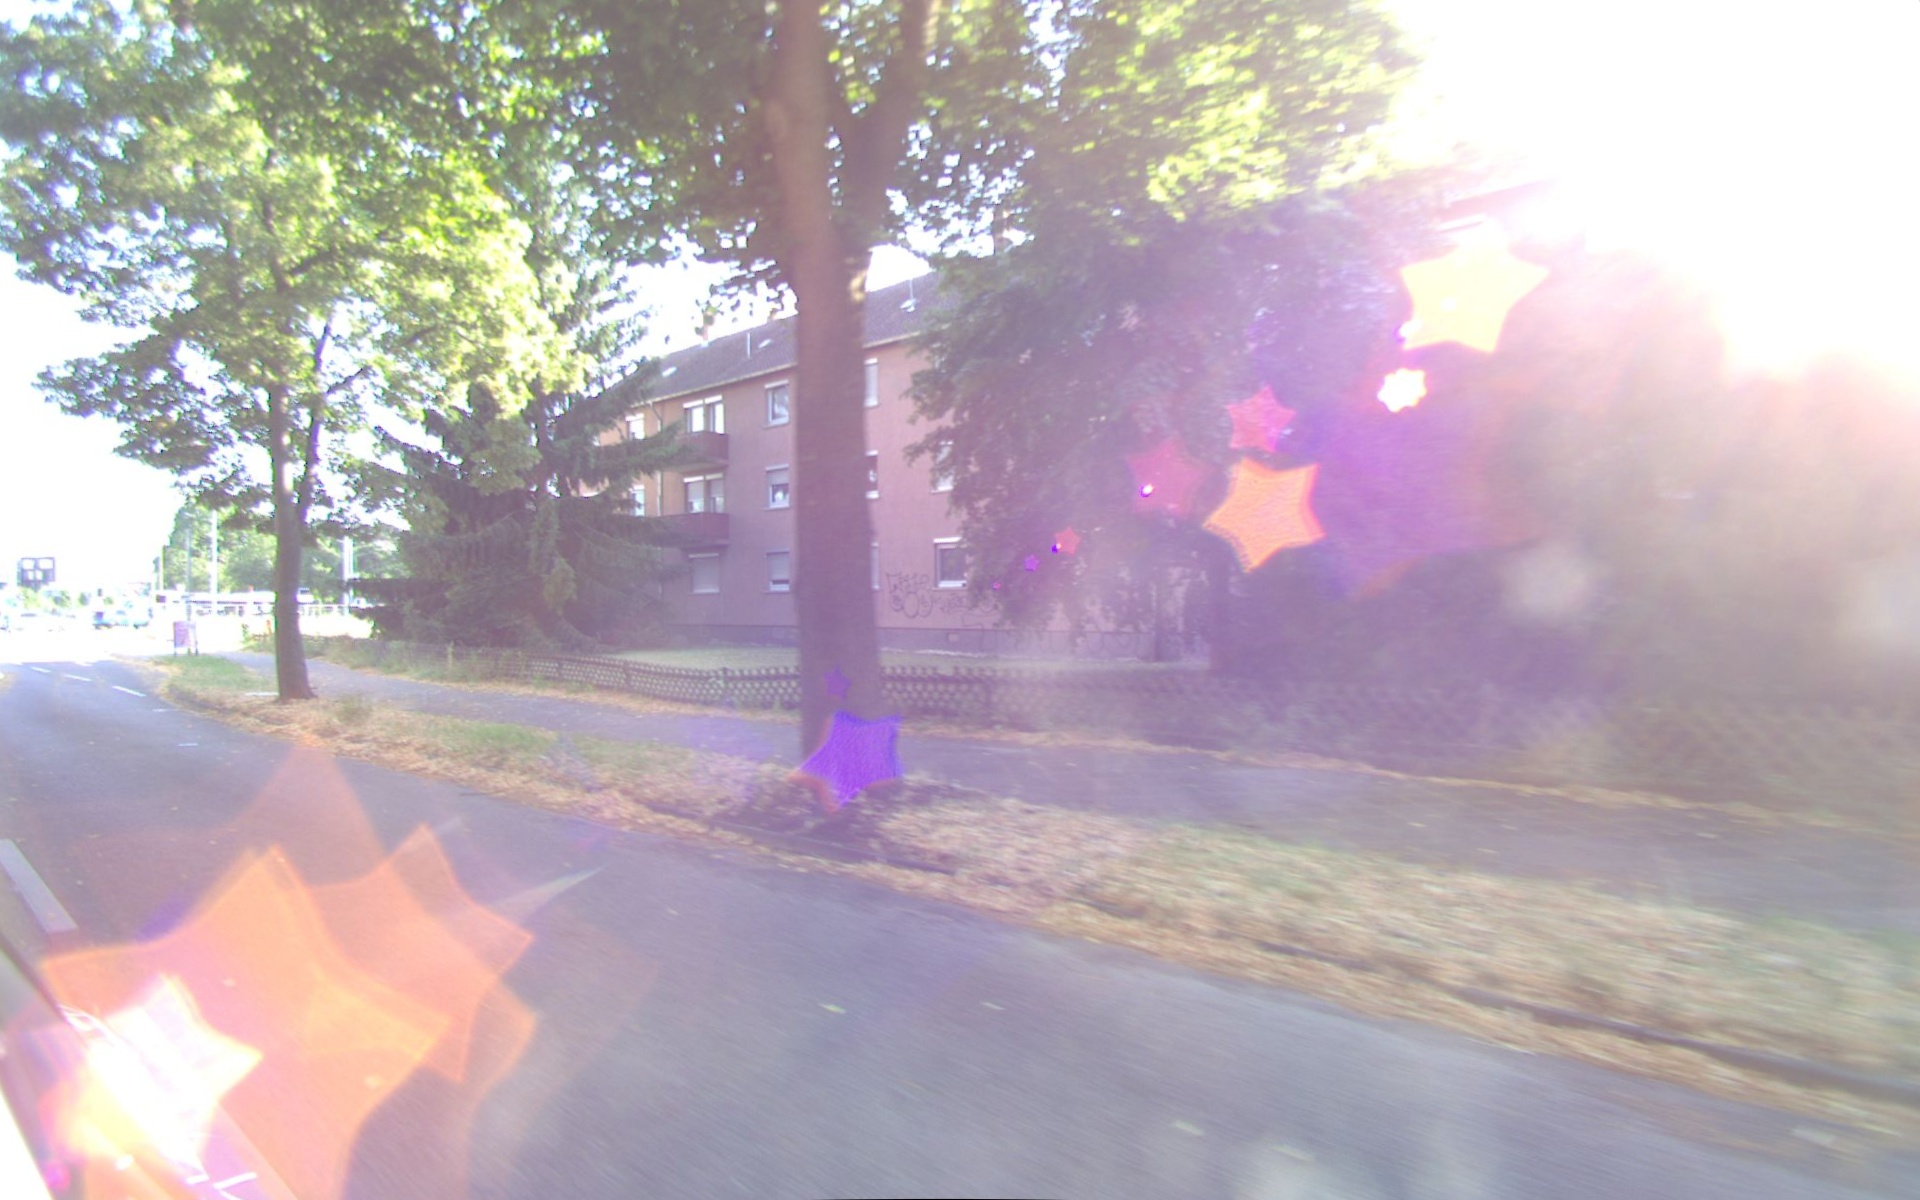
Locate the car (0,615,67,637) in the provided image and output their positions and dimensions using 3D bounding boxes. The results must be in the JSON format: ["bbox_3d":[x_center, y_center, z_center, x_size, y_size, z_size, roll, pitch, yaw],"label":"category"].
[{"bbox_3d":[-66.739,1.819,72.342,1.991,1.541,3.961,-1,-1,29],"label":"car"}]

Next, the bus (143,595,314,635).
[{"bbox_3d":[-60.703,1.175,84.585,2.648,3.085,12.092,-1,0,21],"label":"bus"}]

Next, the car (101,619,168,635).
[{"bbox_3d":[-66.522,2.163,81.644,1.630,1.187,3.978,-1,0,17],"label":"car"}]

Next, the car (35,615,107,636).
[{"bbox_3d":[-69.826,1.986,79.568,1.762,1.541,3.979,0,-1,16],"label":"car"}]
